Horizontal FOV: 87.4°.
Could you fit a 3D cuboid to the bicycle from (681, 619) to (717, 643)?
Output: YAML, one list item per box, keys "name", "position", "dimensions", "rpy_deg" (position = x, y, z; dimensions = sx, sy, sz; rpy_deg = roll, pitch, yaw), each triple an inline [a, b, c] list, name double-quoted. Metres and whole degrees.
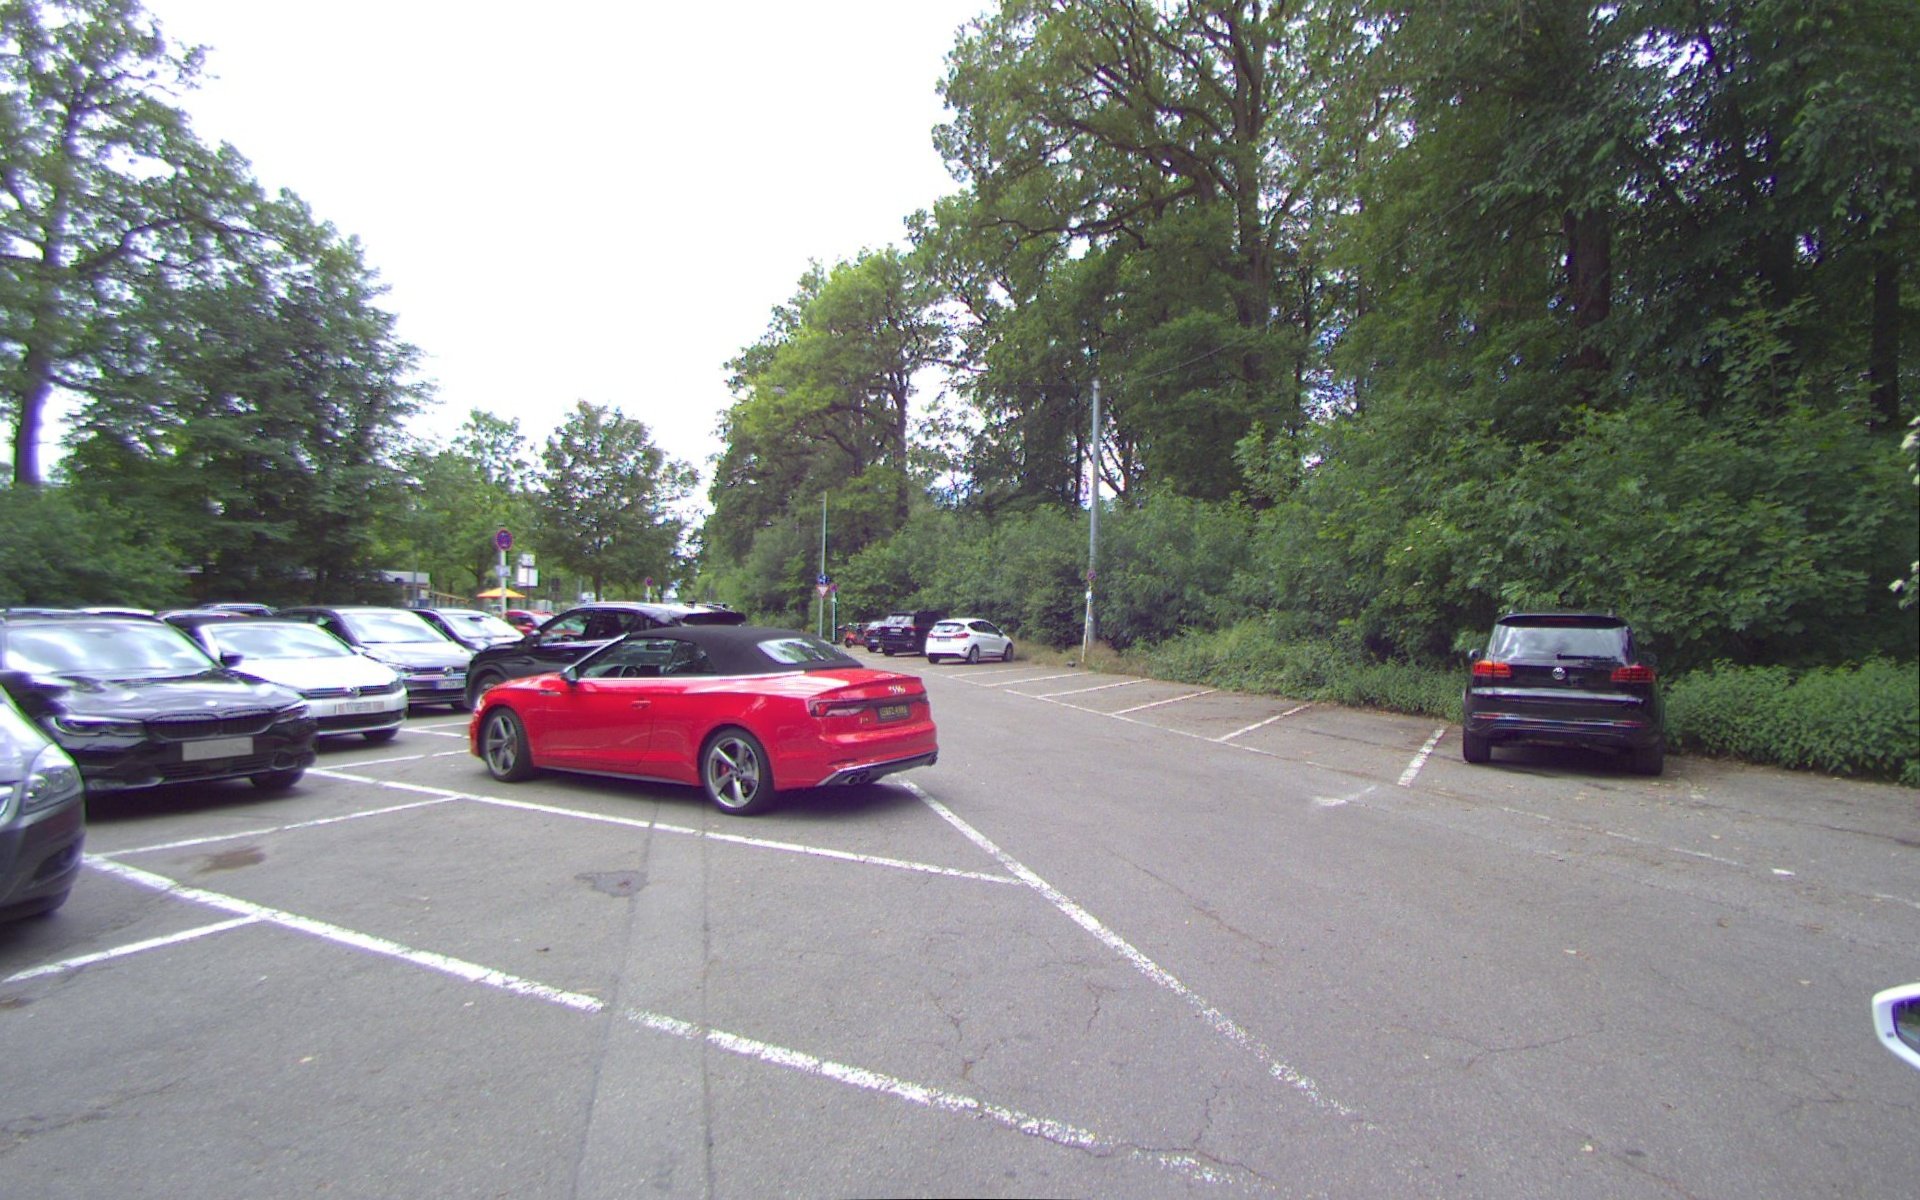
- name: "bicycle"
  position: [-13.046, 1.546, 50.232]
  dimensions: [1.655, 1.126, 0.505]
  rpy_deg: [1, 0, -10]

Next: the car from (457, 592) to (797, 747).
- name: "car"
  position: [-4.267, 0.783, 12.841]
  dimensions: [3.926, 1.685, 1.896]
  rpy_deg: [1, -1, 27]

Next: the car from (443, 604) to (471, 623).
- name: "car"
  position: [-43.452, 1.124, 86.717]
  dimensions: [1.976, 1.572, 3.969]
  rpy_deg: [2, -1, -29]

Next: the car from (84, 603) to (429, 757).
- name: "car"
  position: [-8.072, 0.797, 11.485]
  dimensions: [3.777, 1.462, 1.770]
  rpy_deg: [1, -1, 30]

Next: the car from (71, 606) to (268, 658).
- name: "car"
  position: [-23.699, 0.939, 30.278]
  dimensions: [1.895, 1.432, 4.285]
  rpy_deg: [1, -1, 33]

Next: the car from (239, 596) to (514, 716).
- name: "car"
  position: [-8.908, 0.787, 15.307]
  dimensions: [3.905, 1.608, 1.845]
  rpy_deg: [0, -2, 29]

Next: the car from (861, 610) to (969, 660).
- name: "car"
  position: [-1.679, 1.356, 39.339]
  dimensions: [2.074, 1.790, 4.701]
  rpy_deg: [1, -1, 29]

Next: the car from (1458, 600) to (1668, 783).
- name: "car"
  position: [6.917, 0.905, 11.667]
  dimensions: [1.752, 1.707, 4.064]
  rpy_deg: [1, -1, 30]

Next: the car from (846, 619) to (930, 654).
- name: "car"
  position: [-3.087, 1.557, 43.773]
  dimensions: [1.709, 1.394, 3.993]
  rpy_deg: [1, -1, 29]

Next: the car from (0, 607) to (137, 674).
- name: "car"
  position: [-21.911, 0.901, 23.152]
  dimensions: [1.772, 1.477, 4.180]
  rpy_deg: [1, -1, 29]

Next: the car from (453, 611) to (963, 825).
- name: "car"
  position: [-2.289, 0.856, 8.844]
  dimensions: [4.312, 1.412, 1.766]
  rpy_deg: [1, -1, 29]

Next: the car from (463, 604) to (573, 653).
- name: "car"
  position: [-15.799, 0.996, 35.888]
  dimensions: [3.586, 1.606, 1.685]
  rpy_deg: [1, -1, 26]

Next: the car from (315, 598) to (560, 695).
- name: "car"
  position: [-9.574, 0.808, 18.439]
  dimensions: [3.922, 1.575, 1.873]
  rpy_deg: [1, -1, 22]

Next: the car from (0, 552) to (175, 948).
- name: "car"
  position: [-5.988, 0.591, 4.865]
  dimensions: [4.307, 1.630, 1.827]
  rpy_deg: [1, -1, 28]

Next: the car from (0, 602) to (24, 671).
- name: "car"
  position: [-21.105, 0.681, 19.214]
  dimensions: [1.929, 1.396, 4.258]
  rpy_deg: [1, -1, 27]

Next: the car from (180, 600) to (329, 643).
- name: "car"
  position: [-25.903, 0.792, 37.000]
  dimensions: [1.837, 1.457, 4.110]
  rpy_deg: [1, -1, 32]

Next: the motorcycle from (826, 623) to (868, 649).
- name: "motorcycle"
  position: [-5.328, 1.694, 47.564]
  dimensions: [0.719, 1.224, 2.020]
  rpy_deg: [1, -1, 39]

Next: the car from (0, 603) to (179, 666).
- name: "car"
  position: [-22.979, 0.880, 26.330]
  dimensions: [1.704, 1.524, 3.575]
  rpy_deg: [1, -1, 31]

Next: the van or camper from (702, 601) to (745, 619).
- name: "van or camper"
  position: [-39.396, 1.652, 167.511]
  dimensions: [2.170, 2.887, 7.309]
  rpy_deg: [1, -1, 39]

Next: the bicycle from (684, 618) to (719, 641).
- name: "bicycle"
  position: [-13.210, 1.510, 51.287]
  dimensions: [1.666, 1.126, 0.482]
  rpy_deg: [1, 0, -8]

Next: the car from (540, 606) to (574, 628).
- name: "car"
  position: [-33.687, 1.399, 83.902]
  dimensions: [1.914, 1.692, 4.308]
  rpy_deg: [2, -1, -31]

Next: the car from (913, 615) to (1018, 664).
- name: "car"
  position: [0.251, 1.307, 33.878]
  dimensions: [1.836, 1.530, 3.993]
  rpy_deg: [1, -1, 29]

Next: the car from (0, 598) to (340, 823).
- name: "car"
  position: [-7.298, 0.729, 8.323]
  dimensions: [4.199, 1.462, 1.758]
  rpy_deg: [1, -1, 27]
